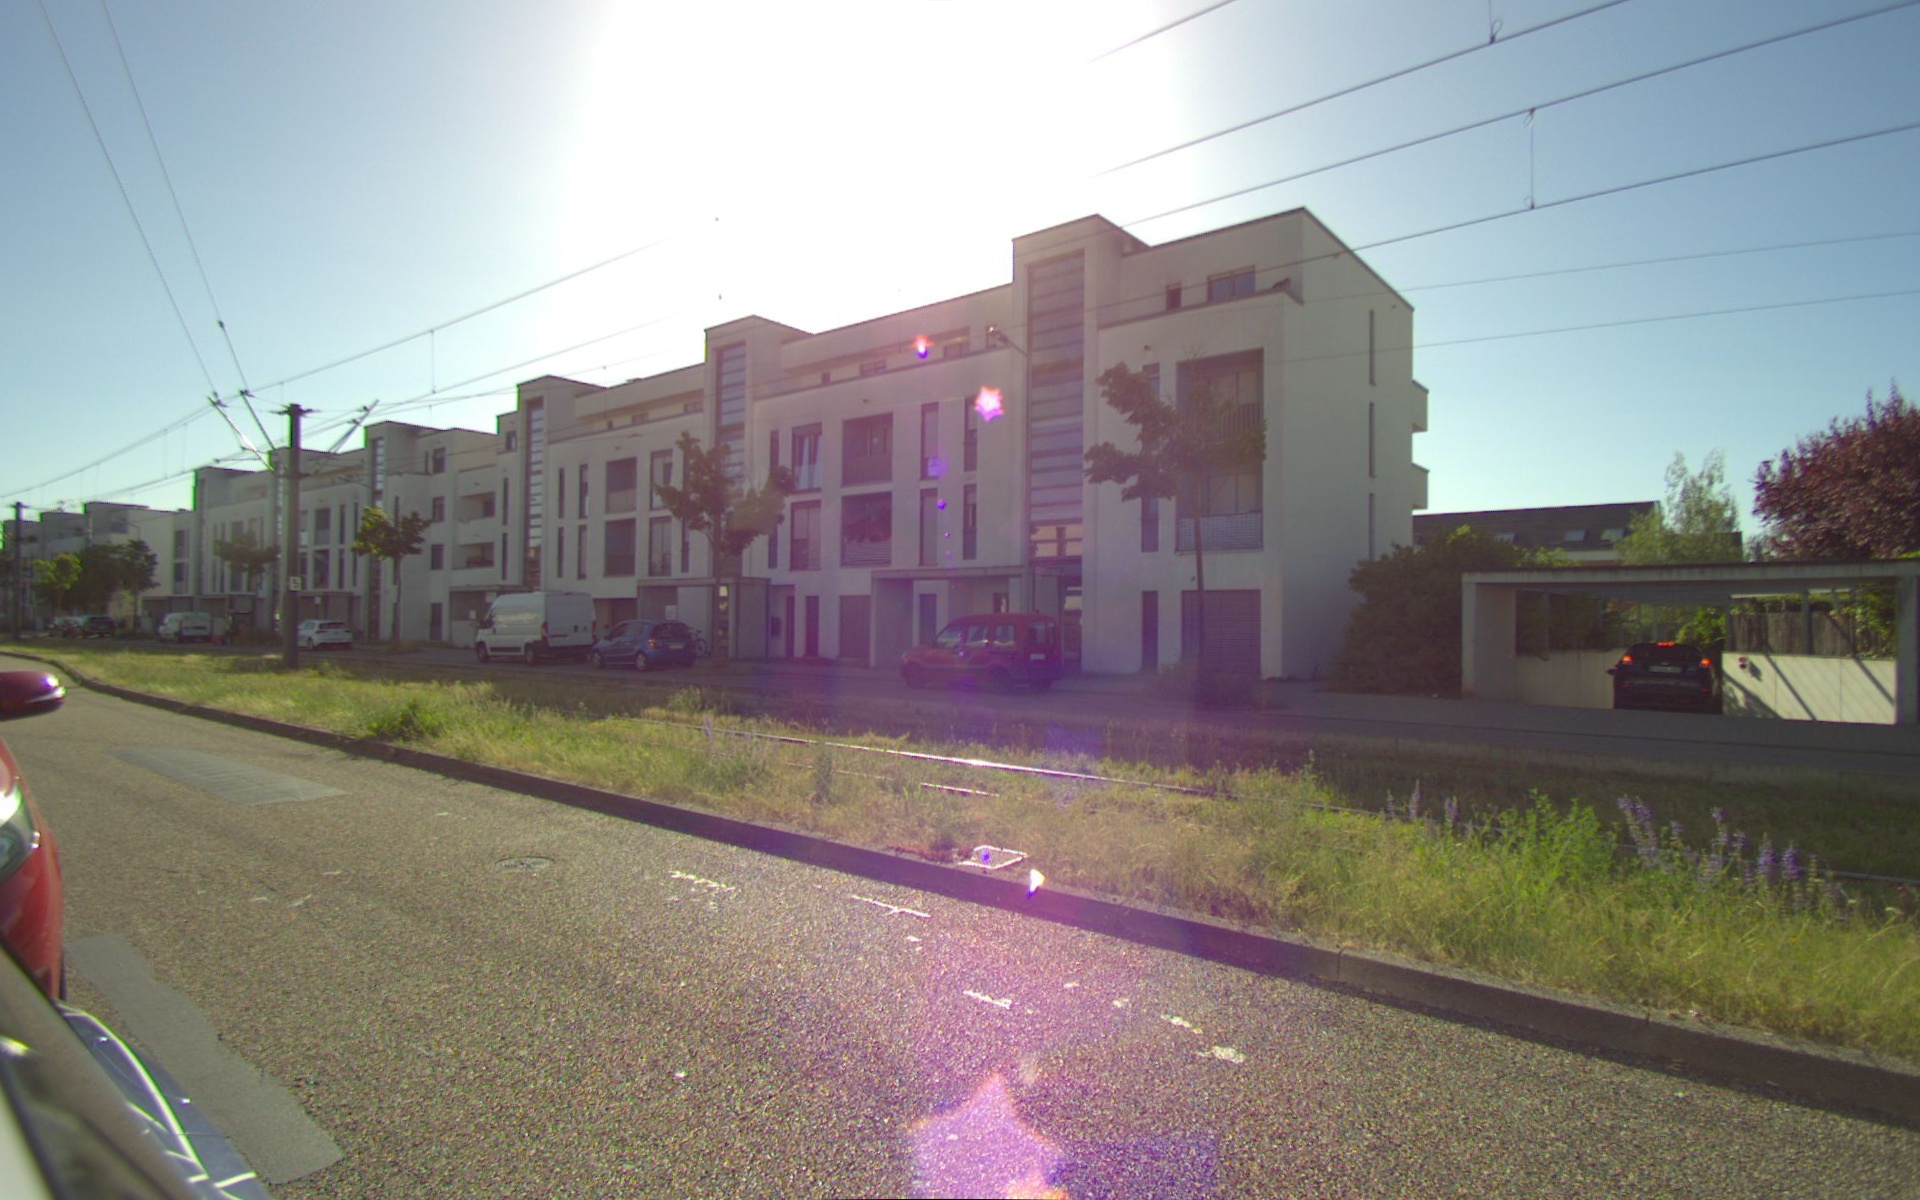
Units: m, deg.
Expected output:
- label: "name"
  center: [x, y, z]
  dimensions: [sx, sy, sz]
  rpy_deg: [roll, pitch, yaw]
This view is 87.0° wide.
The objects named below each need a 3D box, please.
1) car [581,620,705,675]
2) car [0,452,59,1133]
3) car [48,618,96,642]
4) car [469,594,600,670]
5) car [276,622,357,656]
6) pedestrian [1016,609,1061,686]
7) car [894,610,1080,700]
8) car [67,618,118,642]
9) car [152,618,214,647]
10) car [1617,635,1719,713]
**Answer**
- label: "car"
  center: [-9.983, 1.443, 31.746]
  dimensions: [3.833, 1.556, 1.973]
  rpy_deg: [-1, 0, 40]
- label: "car"
  center: [-4.854, 0.555, 3.655]
  dimensions: [4.505, 1.868, 1.850]
  rpy_deg: [-1, 0, 41]
- label: "car"
  center: [-67.499, 2.247, 76.943]
  dimensions: [4.277, 1.693, 1.900]
  rpy_deg: [-1, 0, 37]
- label: "car"
  center: [-15.177, 1.070, 35.951]
  dimensions: [5.193, 2.491, 2.197]
  rpy_deg: [-1, 0, 40]
- label: "car"
  center: [-31.117, 1.832, 48.908]
  dimensions: [4.277, 1.517, 1.900]
  rpy_deg: [-1, 0, 37]
- label: "pedestrian"
  center: [1.928, 1.139, 24.749]
  dimensions: [0.785, 1.836, 0.766]
  rpy_deg: [-1, 0, 41]
- label: "car"
  center: [0.554, 1.164, 23.024]
  dimensions: [3.895, 1.842, 1.972]
  rpy_deg: [-1, 0, 43]
- label: "car"
  center: [-62.955, 2.156, 73.418]
  dimensions: [4.277, 1.693, 1.900]
  rpy_deg: [-1, 0, 37]
- label: "car"
  center: [-47.335, 1.954, 61.636]
  dimensions: [4.277, 1.693, 1.900]
  rpy_deg: [-1, 0, 37]
- label: "car"
  center: [14.565, 1.560, 20.767]
  dimensions: [1.574, 1.337, 3.950]
  rpy_deg: [-1, -7, 37]
